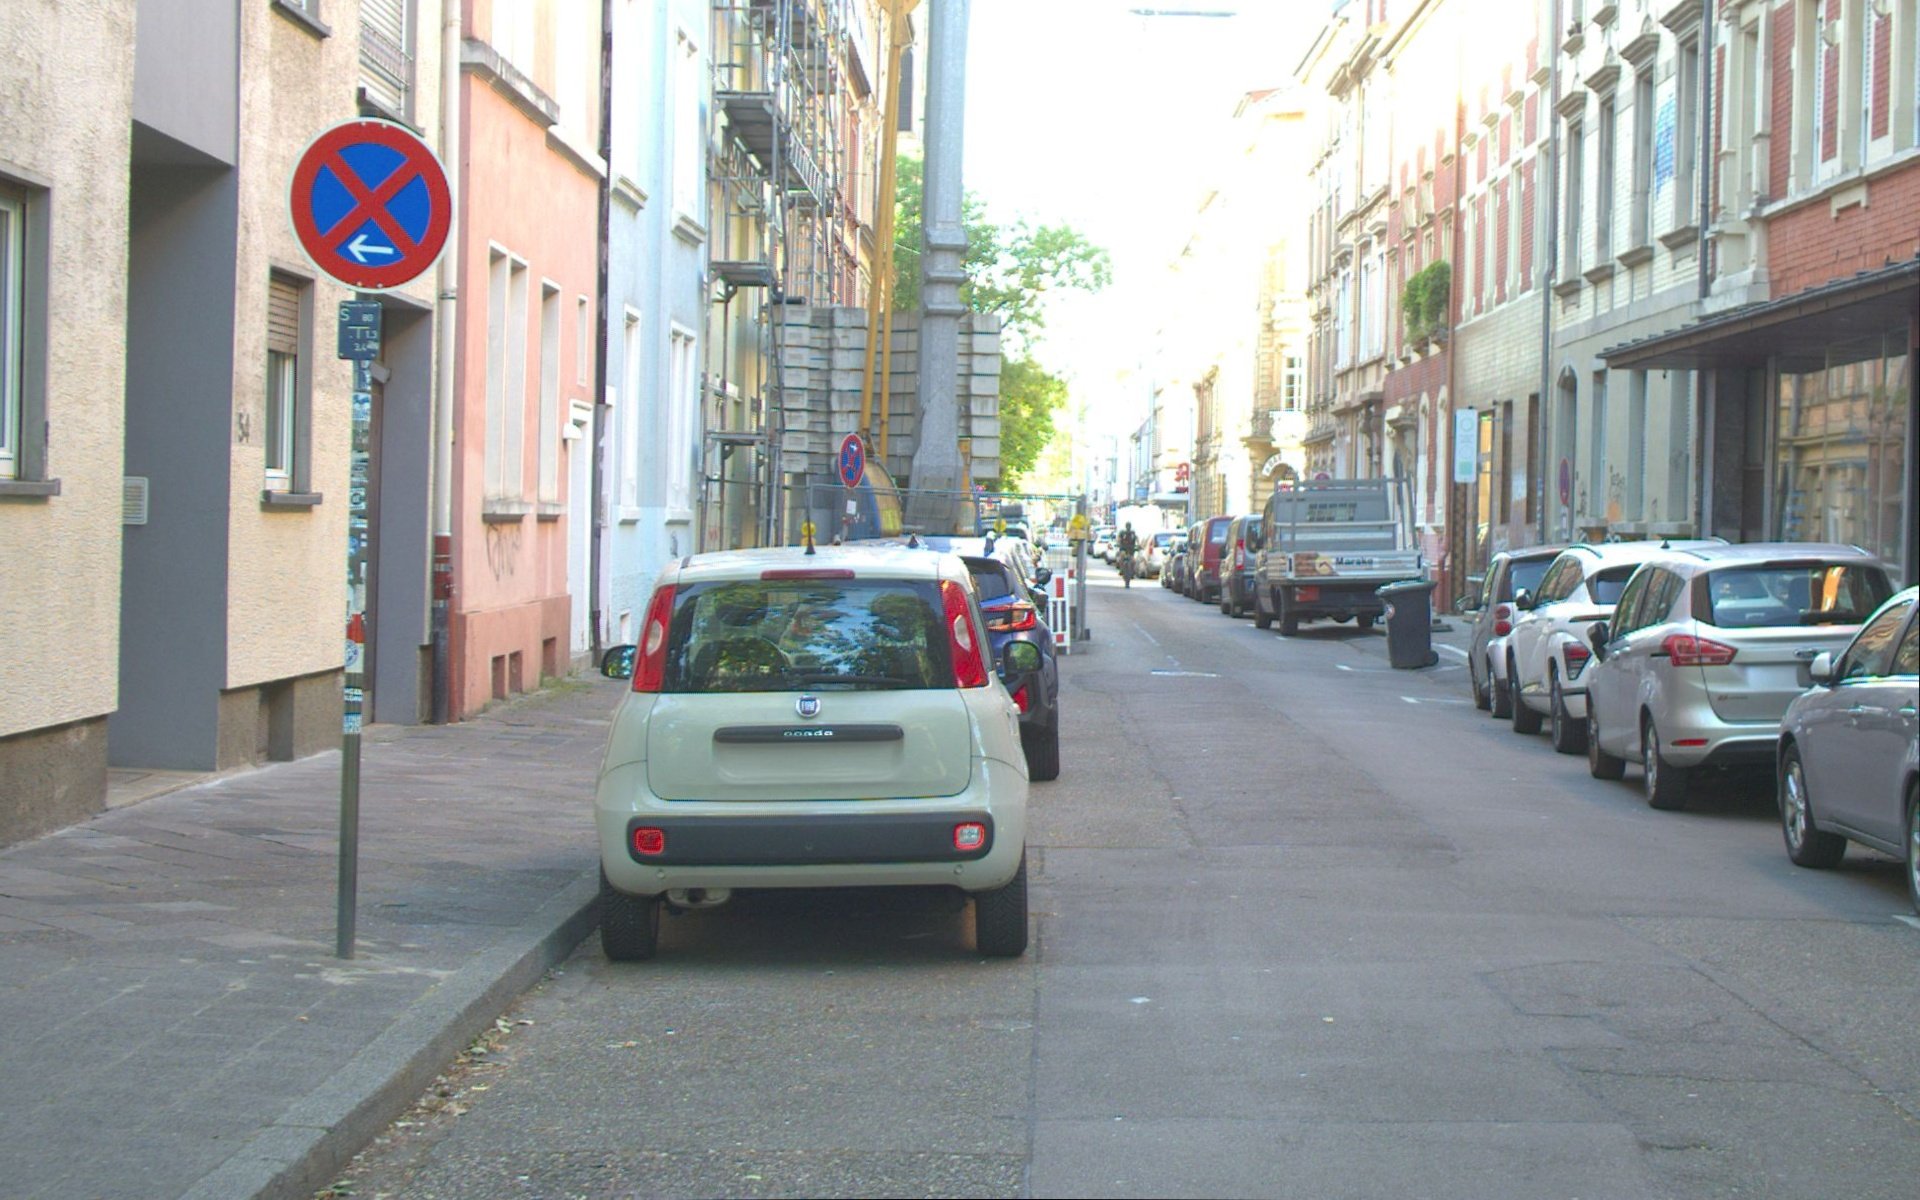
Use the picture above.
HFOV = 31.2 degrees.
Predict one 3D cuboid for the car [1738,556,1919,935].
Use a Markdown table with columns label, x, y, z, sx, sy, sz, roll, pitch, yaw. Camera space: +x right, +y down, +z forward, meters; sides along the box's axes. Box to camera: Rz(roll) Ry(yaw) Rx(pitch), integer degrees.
| label | x | y | z | sx | sy | sz | roll | pitch | yaw |
| --- | --- | --- | --- | --- | --- | --- | --- | --- | --- |
| car | 4.919 | 0.613 | 15.812 | 1.721 | 1.557 | 4.398 | 1 | 1 | 1 |

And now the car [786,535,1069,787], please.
| label | x | y | z | sx | sy | sz | roll | pitch | yaw |
| --- | --- | --- | --- | --- | --- | --- | --- | --- | --- |
| car | -0.236 | 0.333 | 23.248 | 1.729 | 1.534 | 4.378 | 0 | 1 | -1 |

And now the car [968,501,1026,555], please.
| label | x | y | z | sx | sy | sz | roll | pitch | yaw |
| --- | --- | --- | --- | --- | --- | --- | --- | --- | --- |
| car | 1.269 | -2.509 | 119.496 | 1.993 | 1.842 | 4.000 | 0 | 1 | 0 |

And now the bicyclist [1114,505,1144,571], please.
| label | x | y | z | sx | sy | sz | roll | pitch | yaw |
| --- | --- | --- | --- | --- | --- | --- | --- | --- | --- |
| bicyclist | 4.599 | -1.698 | 93.447 | 0.730 | 1.755 | 0.835 | 2 | 2 | 2 |

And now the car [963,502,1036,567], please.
| label | x | y | z | sx | sy | sz | roll | pitch | yaw |
| --- | --- | --- | --- | --- | --- | --- | --- | --- | --- |
| car | 0.972 | -1.641 | 86.415 | 1.675 | 1.565 | 3.870 | 1 | 1 | -1 |

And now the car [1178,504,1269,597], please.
| label | x | y | z | sx | sy | sz | roll | pitch | yaw |
| --- | --- | --- | --- | --- | --- | --- | --- | --- | --- |
| car | 5.941 | -1.131 | 77.818 | 1.675 | 2.024 | 3.870 | 1 | 1 | -1 |

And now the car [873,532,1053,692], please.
| label | x | y | z | sx | sy | sz | roll | pitch | yaw |
| --- | --- | --- | --- | --- | --- | --- | --- | --- | --- |
| car | 0.070 | 0.067 | 34.649 | 1.675 | 1.472 | 4.608 | 1 | 1 | 1 |

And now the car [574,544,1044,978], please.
| label | x | y | z | sx | sy | sz | roll | pitch | yaw |
| --- | --- | --- | --- | --- | --- | --- | --- | --- | --- |
| car | -0.576 | 0.547 | 14.251 | 1.675 | 1.534 | 3.870 | 0 | 1 | -1 |

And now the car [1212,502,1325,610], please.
| label | x | y | z | sx | sy | sz | roll | pitch | yaw |
| --- | --- | --- | --- | --- | --- | --- | --- | --- | --- |
| car | 5.830 | -0.857 | 65.331 | 1.675 | 1.956 | 4.109 | 1 | 1 | -1 |

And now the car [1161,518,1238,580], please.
| label | x | y | z | sx | sy | sz | roll | pitch | yaw |
| --- | --- | --- | --- | --- | --- | --- | --- | --- | --- |
| car | 6.347 | -1.364 | 91.303 | 1.675 | 1.565 | 3.870 | 1 | 1 | -1 |

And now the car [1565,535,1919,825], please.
| label | x | y | z | sx | sy | sz | roll | pitch | yaw |
| --- | --- | --- | --- | --- | --- | --- | --- | --- | --- |
| car | 4.979 | 0.429 | 21.949 | 1.640 | 1.650 | 3.869 | 1 | 1 | 2 |

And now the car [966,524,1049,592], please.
| label | x | y | z | sx | sy | sz | roll | pitch | yaw |
| --- | --- | --- | --- | --- | --- | --- | --- | --- | --- |
| car | 1.026 | -0.943 | 75.941 | 1.675 | 1.440 | 3.870 | 1 | 1 | -1 |

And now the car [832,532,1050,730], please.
| label | x | y | z | sx | sy | sz | roll | pitch | yaw |
| --- | --- | --- | --- | --- | --- | --- | --- | --- | --- |
| car | -0.112 | 0.198 | 28.924 | 1.675 | 1.506 | 4.415 | 1 | 1 | 1 |

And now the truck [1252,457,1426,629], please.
| label | x | y | z | sx | sy | sz | roll | pitch | yaw |
| --- | --- | --- | --- | --- | --- | --- | --- | --- | --- |
| truck | 5.971 | -0.929 | 54.816 | 2.190 | 2.598 | 5.234 | 0 | 1 | 0 |

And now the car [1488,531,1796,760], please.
| label | x | y | z | sx | sy | sz | roll | pitch | yaw |
| --- | --- | --- | --- | --- | --- | --- | --- | --- | --- |
| car | 5.382 | 0.294 | 27.637 | 1.746 | 1.670 | 4.340 | 1 | 1 | 2 |

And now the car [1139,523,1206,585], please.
| label | x | y | z | sx | sy | sz | roll | pitch | yaw |
| --- | --- | --- | --- | --- | --- | --- | --- | --- | --- |
| car | 7.140 | -1.577 | 115.729 | 1.993 | 2.007 | 4.000 | 1 | 1 | 0 |

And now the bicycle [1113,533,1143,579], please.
| label | x | y | z | sx | sy | sz | roll | pitch | yaw |
| --- | --- | --- | --- | --- | --- | --- | --- | --- | --- |
| bicycle | 4.566 | -1.201 | 93.492 | 0.724 | 1.182 | 2.042 | 2 | 2 | 1 |

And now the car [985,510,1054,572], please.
| label | x | y | z | sx | sy | sz | roll | pitch | yaw |
| --- | --- | --- | --- | --- | --- | --- | --- | --- | --- |
| car | 1.550 | -1.573 | 91.290 | 1.675 | 1.565 | 3.870 | 1 | 1 | -1 |

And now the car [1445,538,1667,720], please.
| label | x | y | z | sx | sy | sz | roll | pitch | yaw |
| --- | --- | --- | --- | --- | --- | --- | --- | --- | --- |
| car | 5.627 | 0.223 | 32.810 | 1.597 | 1.555 | 3.813 | 2 | 2 | 3 |

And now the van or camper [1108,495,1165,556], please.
| label | x | y | z | sx | sy | sz | roll | pitch | yaw |
| --- | --- | --- | --- | --- | --- | --- | --- | --- | --- |
| van or camper | 7.390 | -3.133 | 144.327 | 1.993 | 2.499 | 4.203 | 0 | 1 | -3 |

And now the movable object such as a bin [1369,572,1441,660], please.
| label | x | y | z | sx | sy | sz | roll | pitch | yaw |
| --- | --- | --- | --- | --- | --- | --- | --- | --- | --- |
| movable object such as a bin | 5.512 | 0.194 | 42.585 | 0.795 | 1.052 | 0.660 | 1 | 1 | 1 |
